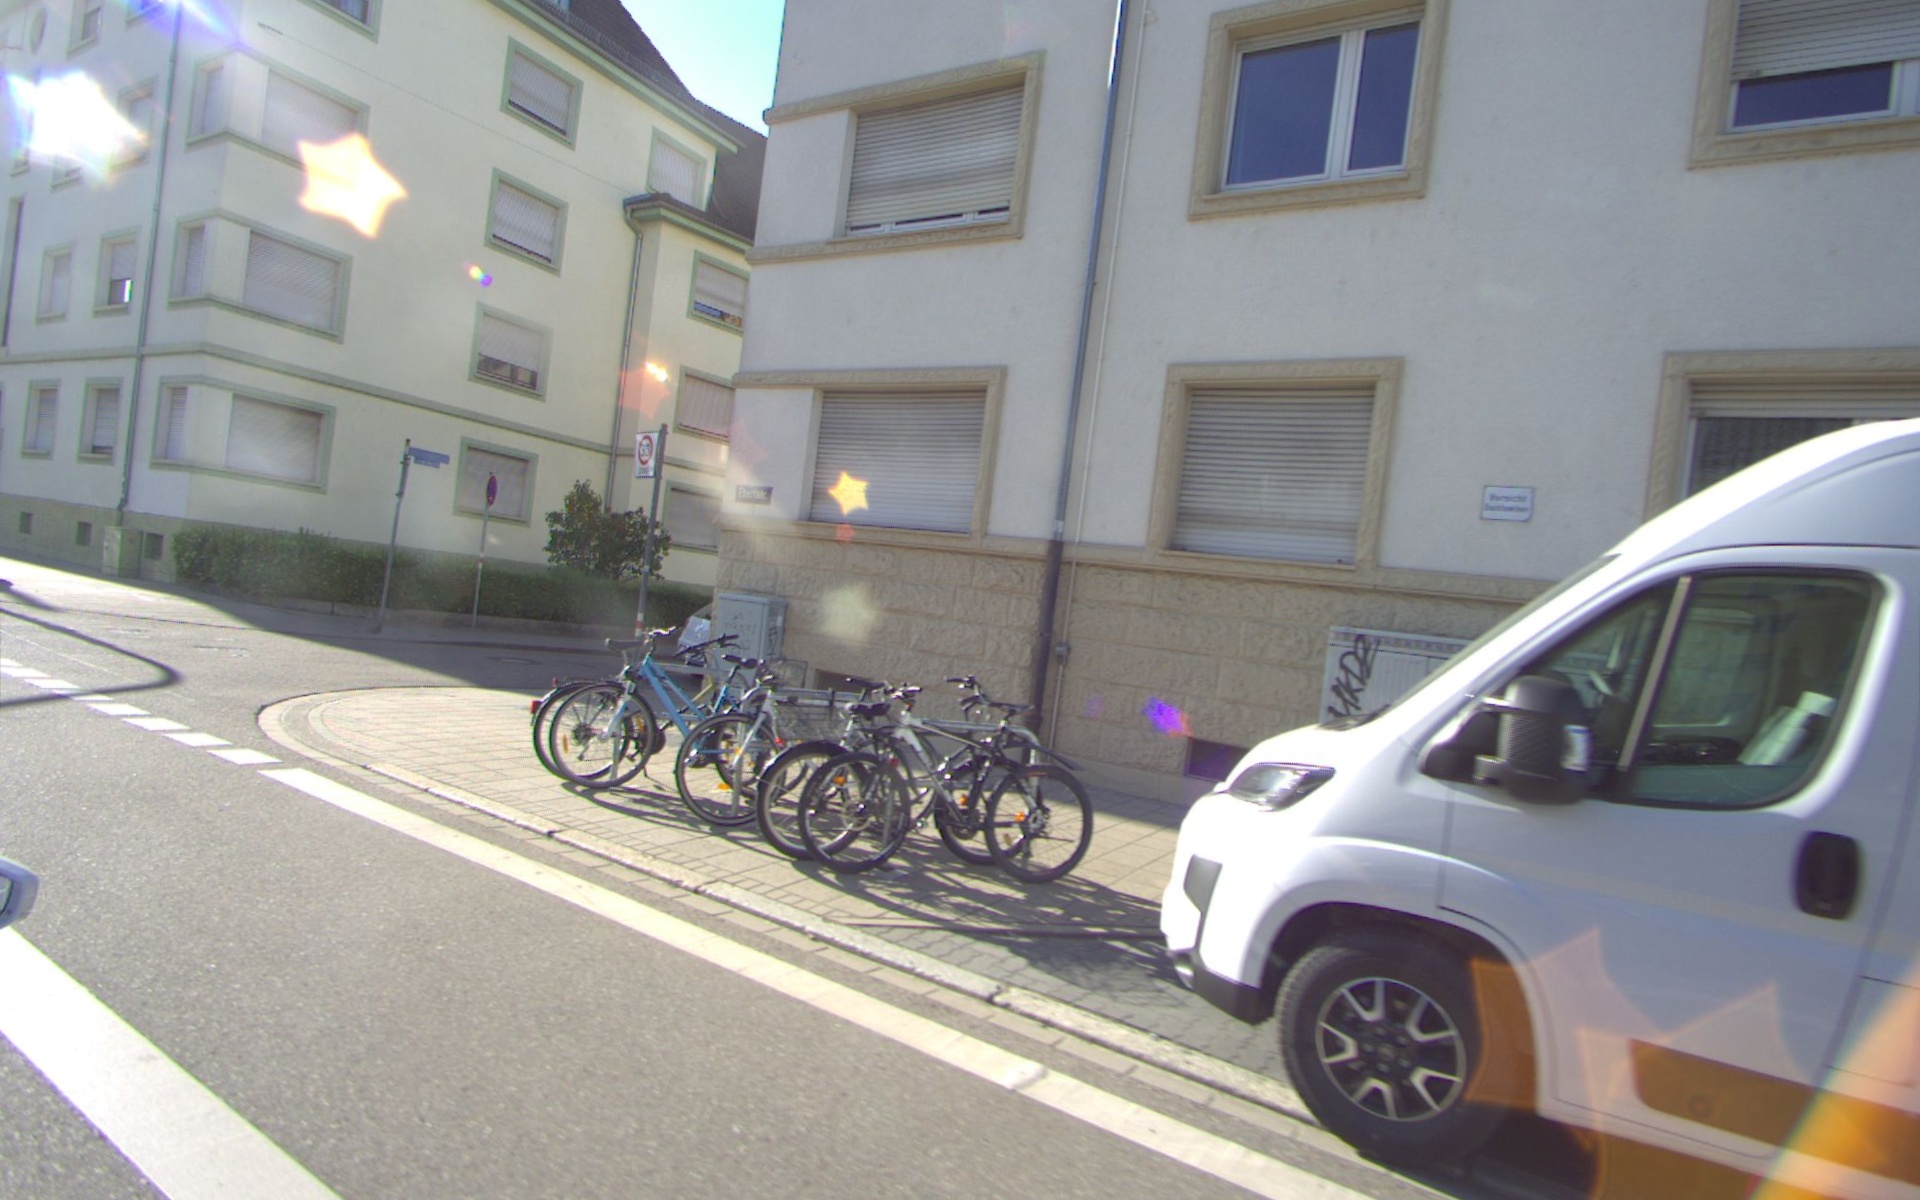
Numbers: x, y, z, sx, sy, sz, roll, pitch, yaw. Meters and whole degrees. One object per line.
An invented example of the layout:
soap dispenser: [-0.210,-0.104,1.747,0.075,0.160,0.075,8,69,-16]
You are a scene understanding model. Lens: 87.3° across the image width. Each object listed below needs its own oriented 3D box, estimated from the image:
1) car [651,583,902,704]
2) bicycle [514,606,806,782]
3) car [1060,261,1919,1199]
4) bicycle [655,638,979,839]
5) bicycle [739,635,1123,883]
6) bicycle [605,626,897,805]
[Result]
car: [-2.951,0.770,16.753,1.689,1.440,3.728,6,-4,42]
bicycle: [-2.112,0.679,7.264,1.900,1.102,0.469,5,4,-38]
car: [3.673,0.652,2.974,6.187,2.732,2.151,7,2,32]
bicycle: [-0.890,0.878,6.367,1.888,1.099,0.473,6,-2,-16]
bicycle: [-0.163,0.898,5.723,1.996,1.099,0.486,9,-2,-11]
bicycle: [-1.430,0.818,7.103,1.899,1.101,0.469,6,2,-34]
